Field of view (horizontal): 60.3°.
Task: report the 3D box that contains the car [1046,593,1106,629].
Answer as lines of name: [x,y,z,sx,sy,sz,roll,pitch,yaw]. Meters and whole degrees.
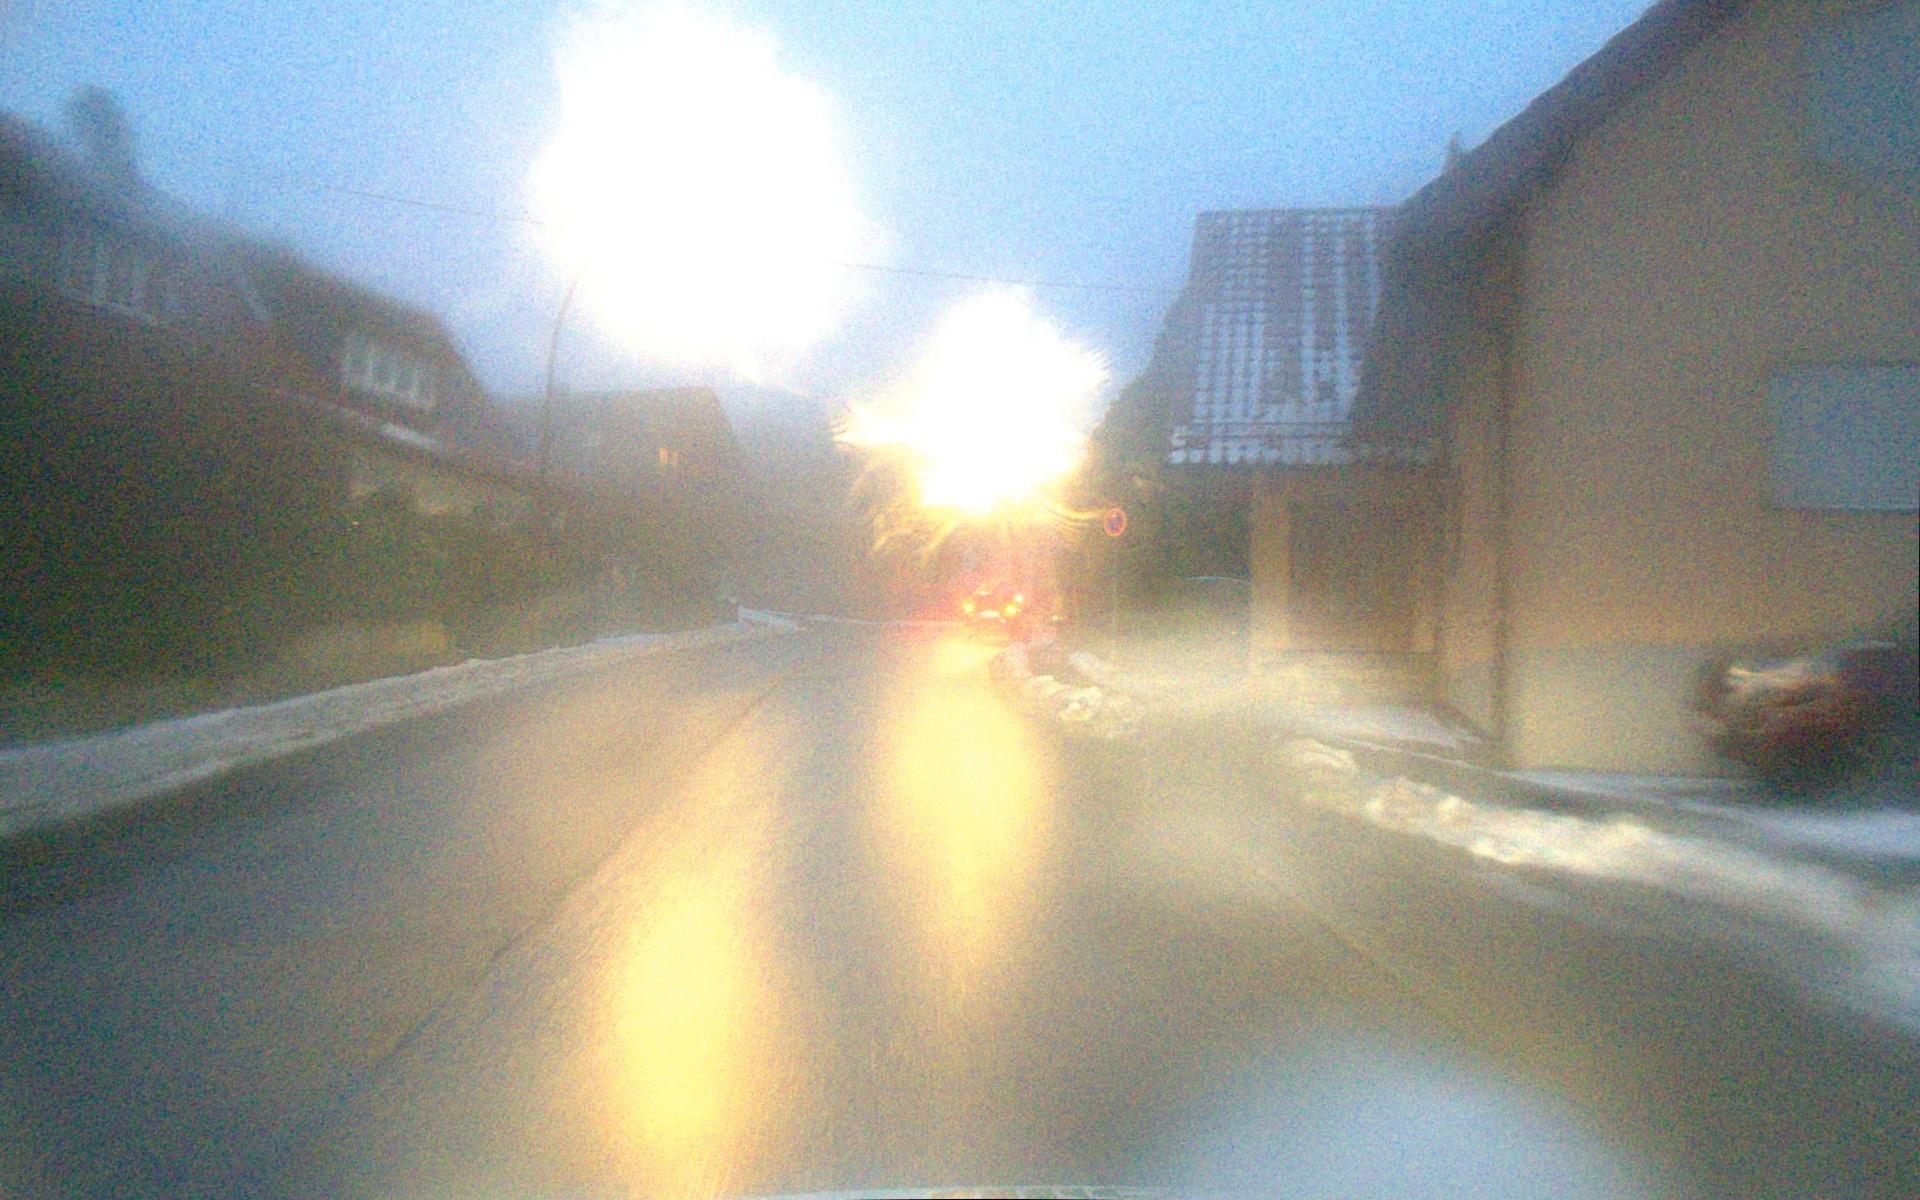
car: [5.768,0.579,81.853,1.952,1.680,4.001,-1,-2,19]

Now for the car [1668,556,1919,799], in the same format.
car: [7.416,0.515,11.643,4.069,1.586,1.947,-1,-2,7]

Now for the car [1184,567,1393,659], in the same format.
car: [6.438,0.274,32.503,3.902,1.720,1.846,-1,-1,12]

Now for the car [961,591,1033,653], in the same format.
car: [1.169,0.711,50.662,1.951,1.767,3.880,-1,-3,5]
